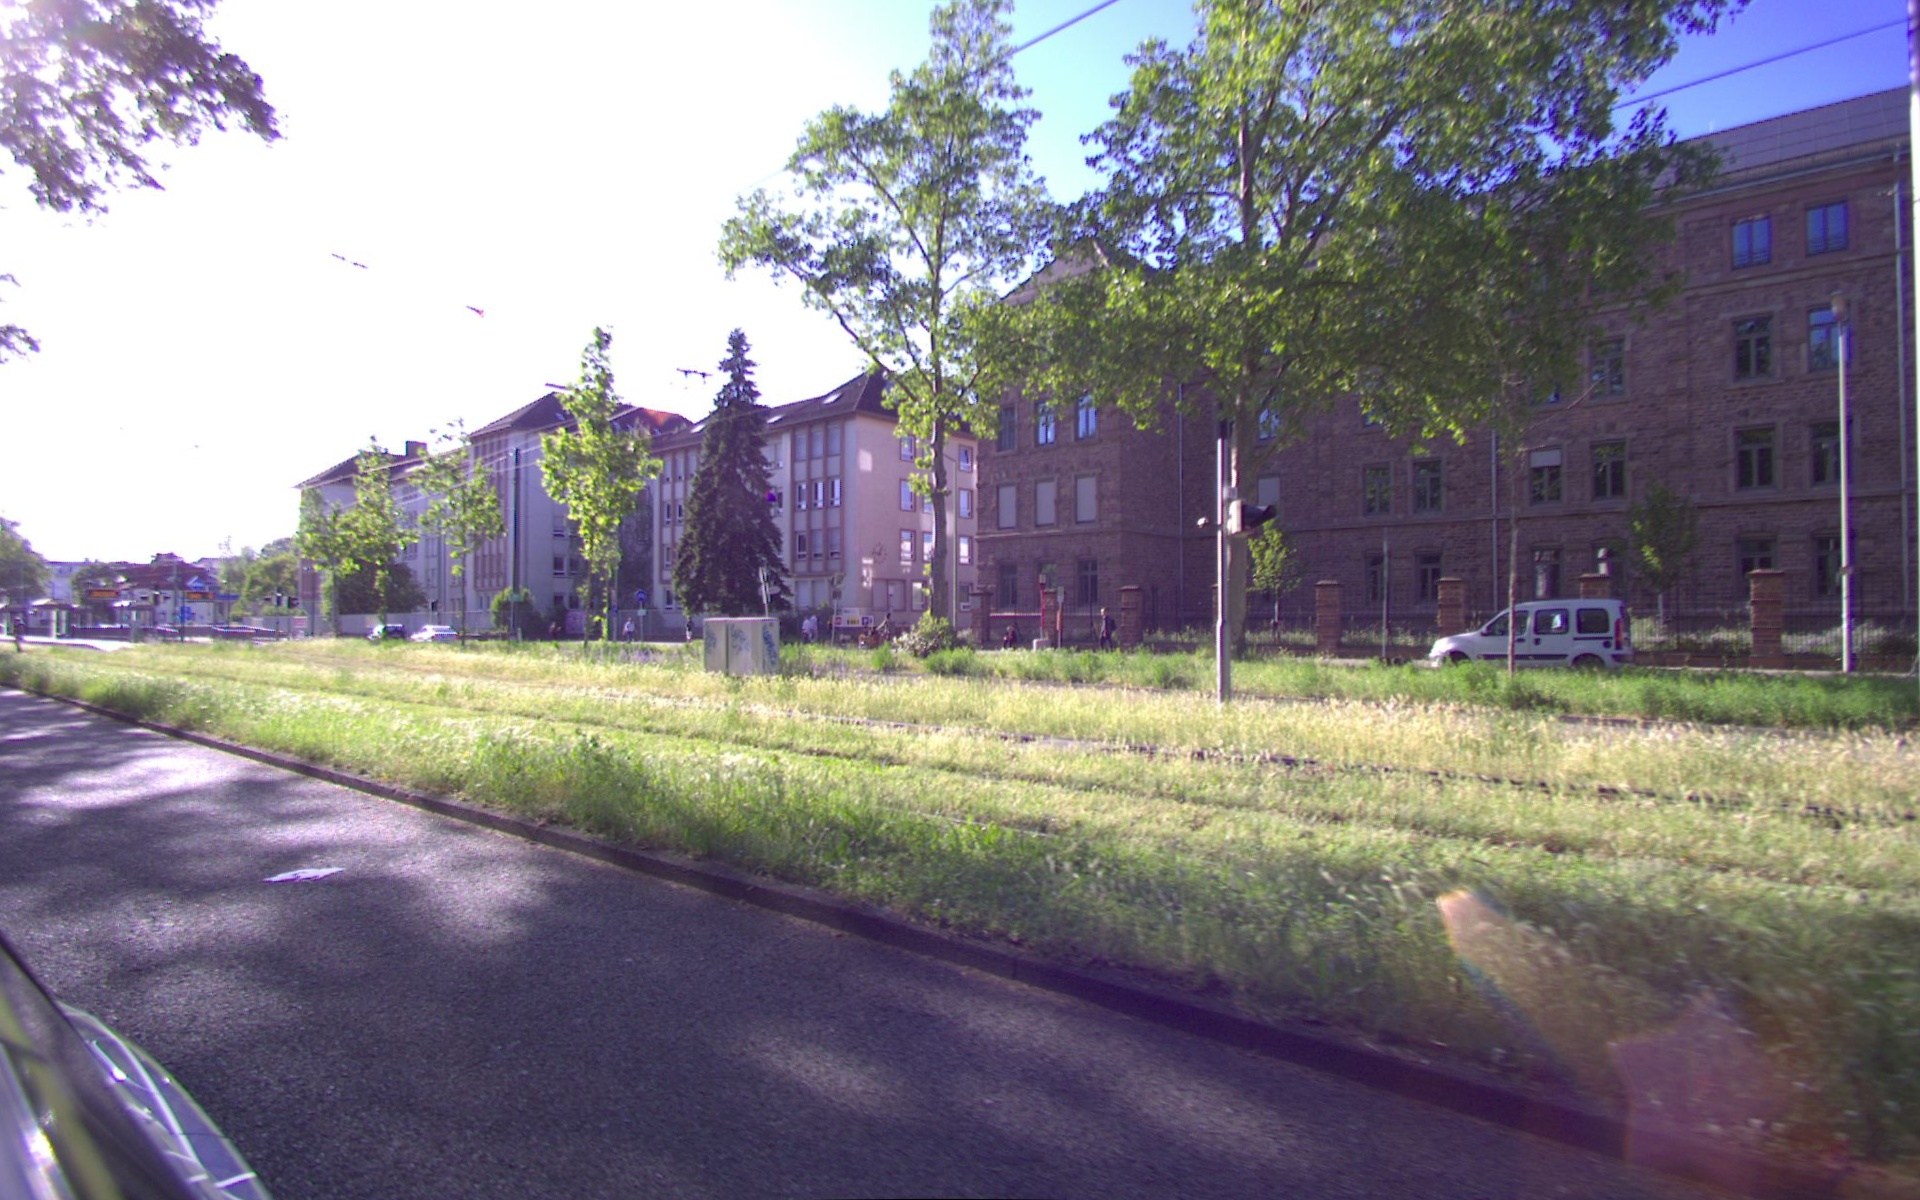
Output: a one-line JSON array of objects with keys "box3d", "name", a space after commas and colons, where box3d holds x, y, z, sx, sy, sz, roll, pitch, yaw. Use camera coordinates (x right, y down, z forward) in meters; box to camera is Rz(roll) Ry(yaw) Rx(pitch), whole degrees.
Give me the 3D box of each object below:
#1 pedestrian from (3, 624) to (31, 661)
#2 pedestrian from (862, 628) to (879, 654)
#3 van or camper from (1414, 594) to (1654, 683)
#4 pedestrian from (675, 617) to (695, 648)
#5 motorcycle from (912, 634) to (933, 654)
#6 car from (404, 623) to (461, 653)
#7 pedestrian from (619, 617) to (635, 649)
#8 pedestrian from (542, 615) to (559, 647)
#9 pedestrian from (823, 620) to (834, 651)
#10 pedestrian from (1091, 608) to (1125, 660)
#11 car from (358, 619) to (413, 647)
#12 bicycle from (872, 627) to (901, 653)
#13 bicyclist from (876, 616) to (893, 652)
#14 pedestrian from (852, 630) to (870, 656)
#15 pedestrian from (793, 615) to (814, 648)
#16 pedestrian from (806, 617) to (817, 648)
[{"box3d": [-46.063, 2.077, 49.425, 0.730, 1.749, 0.942, -2, -2, 43], "name": "pedestrian"}, {"box3d": [-3.803, 1.727, 42.887, 0.586, 1.108, 0.439, -2, -2, 36], "name": "pedestrian"}, {"box3d": [12.841, 0.852, 22.781, 4.427, 1.801, 1.974, -1, -2, 39], "name": "van or camper"}, {"box3d": [-15.511, 1.832, 57.120, 0.819, 1.708, 0.677, -1, -1, 22], "name": "pedestrian"}, {"box3d": [-1.822, 2.143, 49.010, 1.043, 0.953, 0.331, -1, -2, 37], "name": "motorcycle"}, {"box3d": [-30.256, 2.163, 57.980, 1.744, 1.635, 4.479, 1, -2, -43], "name": "car"}, {"box3d": [-19.456, 1.922, 59.077, 0.572, 1.851, 0.685, -2, -2, 40], "name": "pedestrian"}, {"box3d": [-26.247, 1.995, 64.879, 0.860, 2.029, 0.656, -2, -2, 40], "name": "pedestrian"}, {"box3d": [-7.396, 1.998, 56.871, 0.371, 1.708, 0.449, 1, -2, -43], "name": "pedestrian"}, {"box3d": [5.604, 1.291, 38.387, 0.941, 1.914, 0.891, -2, -2, 42], "name": "pedestrian"}, {"box3d": [-36.493, 2.066, 64.232, 4.151, 1.720, 1.971, -2, -2, 45], "name": "car"}, {"box3d": [-3.076, 1.671, 42.319, 1.172, 1.076, 0.458, -2, -2, 32], "name": "bicycle"}, {"box3d": [-3.161, 1.432, 42.372, 0.501, 1.510, 0.450, -2, -2, 31], "name": "bicyclist"}, {"box3d": [-4.238, 1.848, 43.248, 0.478, 1.108, 0.580, -2, -2, 39], "name": "pedestrian"}, {"box3d": [-7.999, 1.607, 51.666, 0.875, 1.708, 0.679, -1, -1, 13], "name": "pedestrian"}, {"box3d": [-8.292, 1.796, 56.448, 0.371, 1.708, 0.449, 1, -2, -43], "name": "pedestrian"}]
